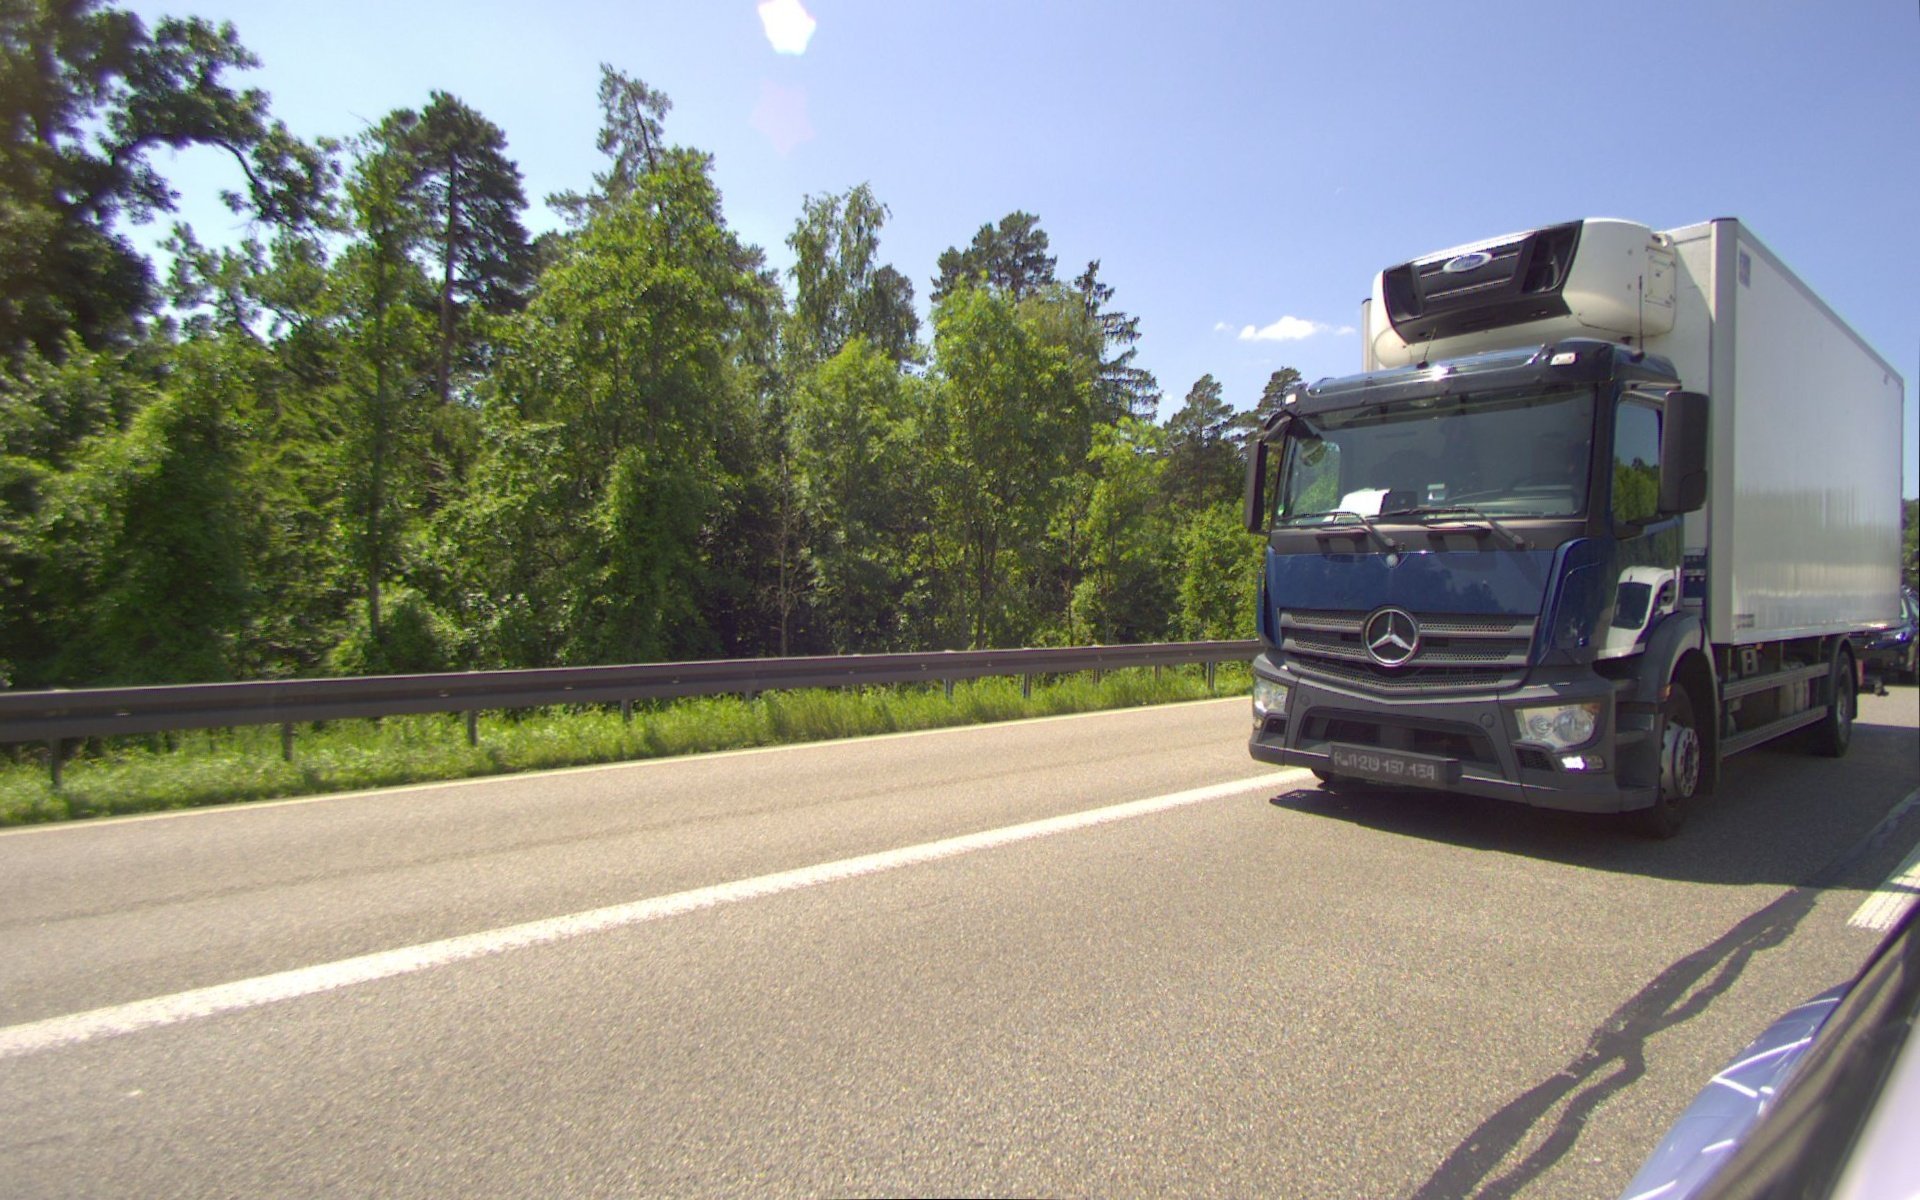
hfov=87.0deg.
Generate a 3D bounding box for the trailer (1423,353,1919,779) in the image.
[{"bbox_3d":[7.903,-0.289,10.429,7.740,2.935,2.561,-1,1,-39],"label":"trailer"}]

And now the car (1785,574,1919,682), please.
[{"bbox_3d":[16.942,0.411,18.707,4.534,1.713,1.996,-2,3,-43],"label":"car"}]

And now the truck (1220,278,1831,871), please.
[{"bbox_3d":[4.179,-0.206,7.355,4.031,2.976,2.562,-2,2,-39],"label":"truck"}]
